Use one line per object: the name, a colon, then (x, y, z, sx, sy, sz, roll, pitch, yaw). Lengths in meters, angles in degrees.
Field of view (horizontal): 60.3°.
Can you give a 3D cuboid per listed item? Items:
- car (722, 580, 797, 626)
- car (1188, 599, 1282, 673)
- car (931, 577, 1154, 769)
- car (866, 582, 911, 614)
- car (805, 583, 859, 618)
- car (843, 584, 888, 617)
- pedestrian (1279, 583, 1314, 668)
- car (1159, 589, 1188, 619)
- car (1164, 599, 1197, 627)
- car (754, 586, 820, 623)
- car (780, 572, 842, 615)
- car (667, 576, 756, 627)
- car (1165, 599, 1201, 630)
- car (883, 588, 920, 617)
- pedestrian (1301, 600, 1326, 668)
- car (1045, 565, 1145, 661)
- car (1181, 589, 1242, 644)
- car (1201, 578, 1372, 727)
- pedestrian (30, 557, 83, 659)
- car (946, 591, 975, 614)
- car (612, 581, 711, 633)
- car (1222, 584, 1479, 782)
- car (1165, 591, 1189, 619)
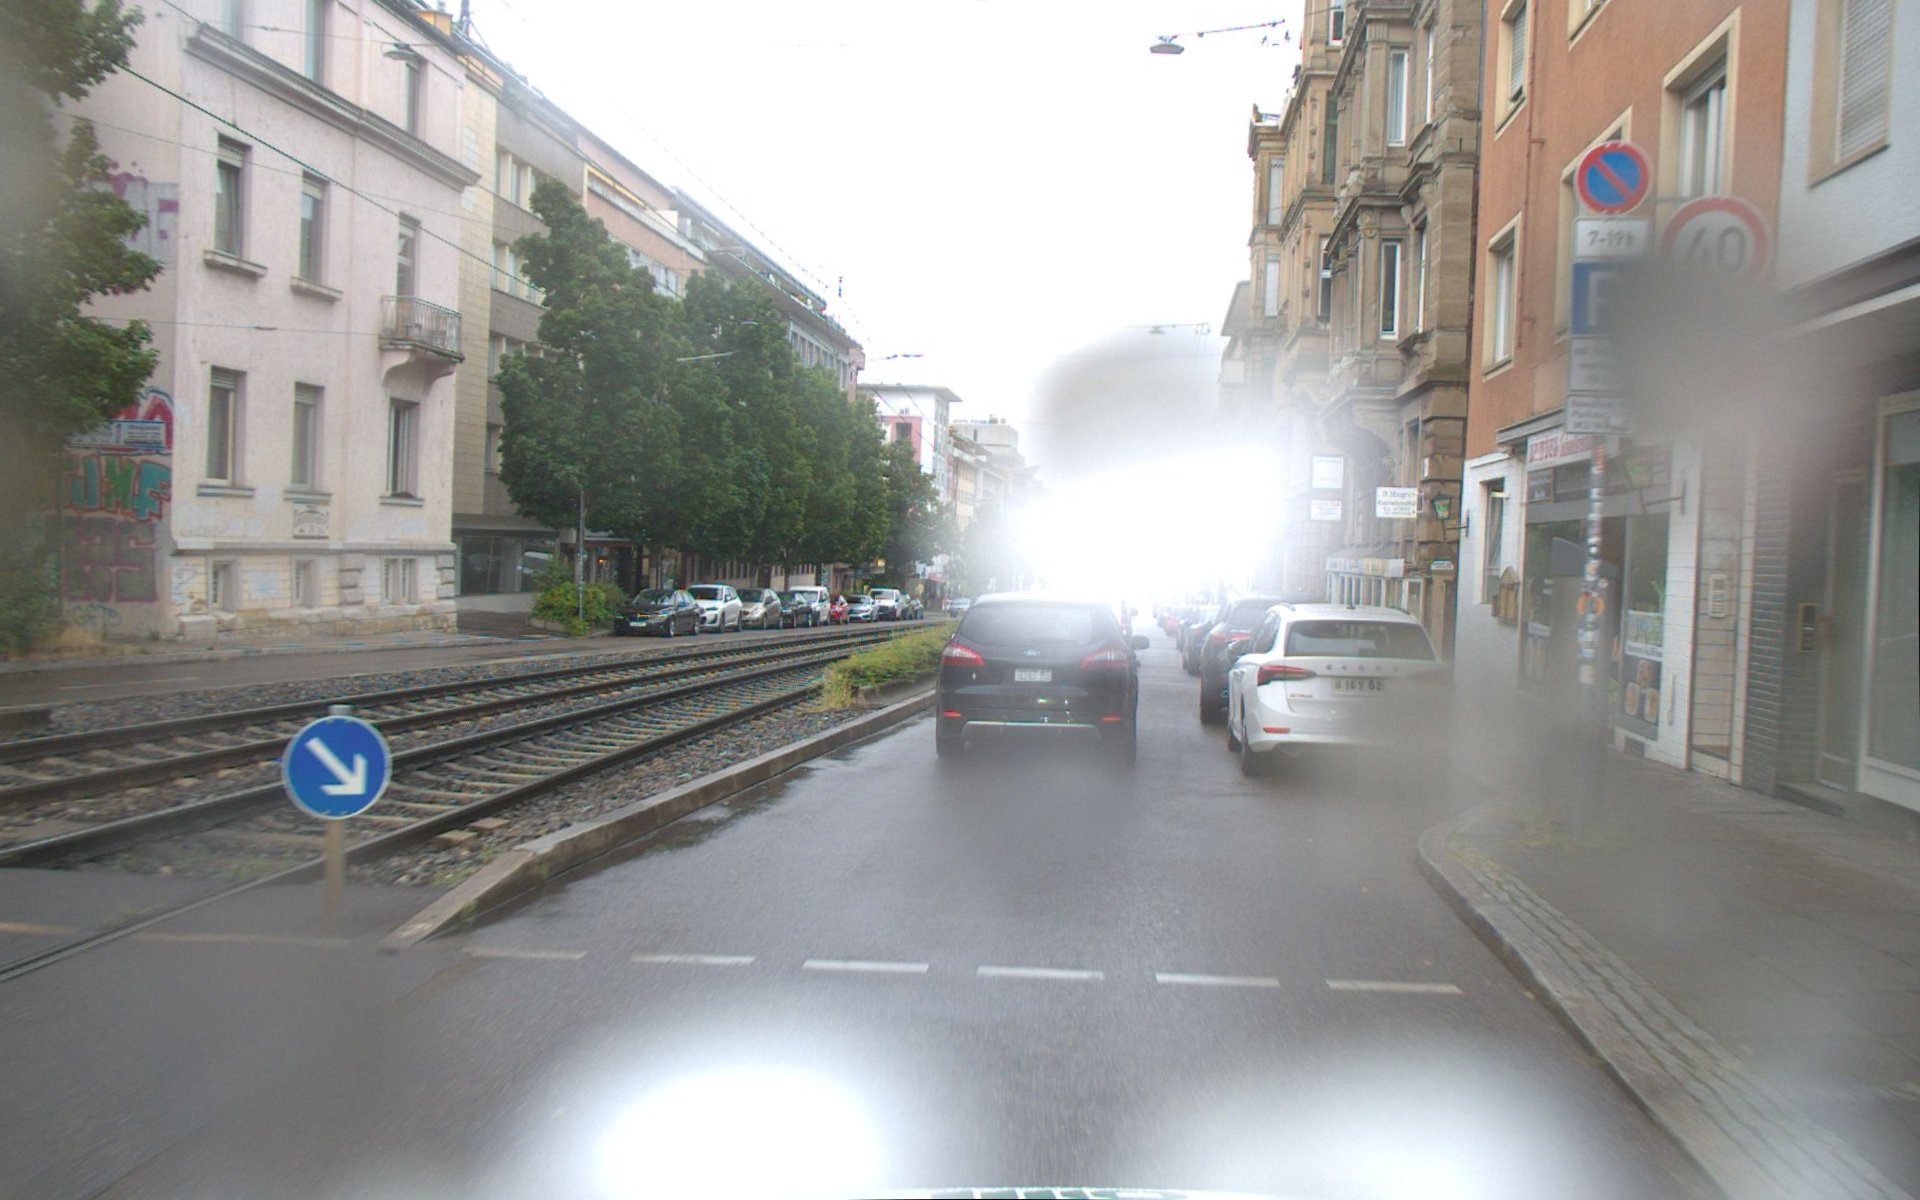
car: (-7.769, 0.149, 64.442, 1.816, 1.576, 4.434, 3, -1, 7)
car: (5.892, 0.768, 35.803, 1.754, 1.431, 4.260, 2, -1, 7)
car: (0.833, 0.612, 15.585, 1.804, 1.533, 4.002, 1, 0, 5)
car: (-4.192, -0.111, 97.885, 1.816, 1.665, 4.938, 3, -1, 7)
car: (-6.258, 0.036, 81.336, 1.816, 1.553, 4.048, 3, -1, 7)
car: (-4.998, 0.029, 88.289, 1.632, 1.585, 4.048, 3, -1, 7)
pedestrian: (7.499, 0.556, 36.880, 0.688, 1.851, 0.962, -1, 1, 7)
car: (14.625, 0.312, 113.569, 1.800, 1.812, 3.781, 4, -1, 7)
car: (11.636, 0.684, 87.301, 1.635, 1.446, 3.478, 2, 0, 6)
car: (-7.224, 0.213, 69.348, 1.816, 1.443, 4.434, 0, -1, 7)
car: (-6.746, -0.283, 75.345, 1.816, 1.730, 4.434, 3, -1, 7)
car: (-8.672, 0.082, 58.098, 1.816, 1.576, 4.723, 3, -1, 7)
car: (10.904, 0.727, 81.065, 1.635, 1.446, 3.478, 2, 0, 6)
car: (-3.666, 0.171, 104.264, 1.659, 1.601, 4.048, 3, -1, 7)
pedestrian: (8.364, 0.808, 39.172, 0.508, 1.607, 0.678, -1, -2, 7)
car: (3.280, 0.274, 39.501, 1.946, 2.096, 4.649, 2, 1, 9)
car: (7.267, 0.472, 47.972, 1.614, 1.485, 3.478, 2, 0, 7)
car: (4.150, 0.661, 21.646, 1.806, 1.661, 4.589, 2, -1, 7)
pedestrian: (-15.316, 0.143, 28.044, 0.459, 1.681, 0.581, 4, -2, -5)
car: (0.030, 0.187, 134.324, 1.816, 1.665, 4.048, 3, -1, 7)
car: (-9.264, 0.259, 51.751, 1.658, 1.401, 4.723, 3, -2, 7)
car: (3.374, 0.684, 15.074, 1.763, 1.481, 4.589, 1, -1, 7)
car: (15.686, 0.398, 119.421, 1.558, 1.812, 3.781, 4, -1, 7)
